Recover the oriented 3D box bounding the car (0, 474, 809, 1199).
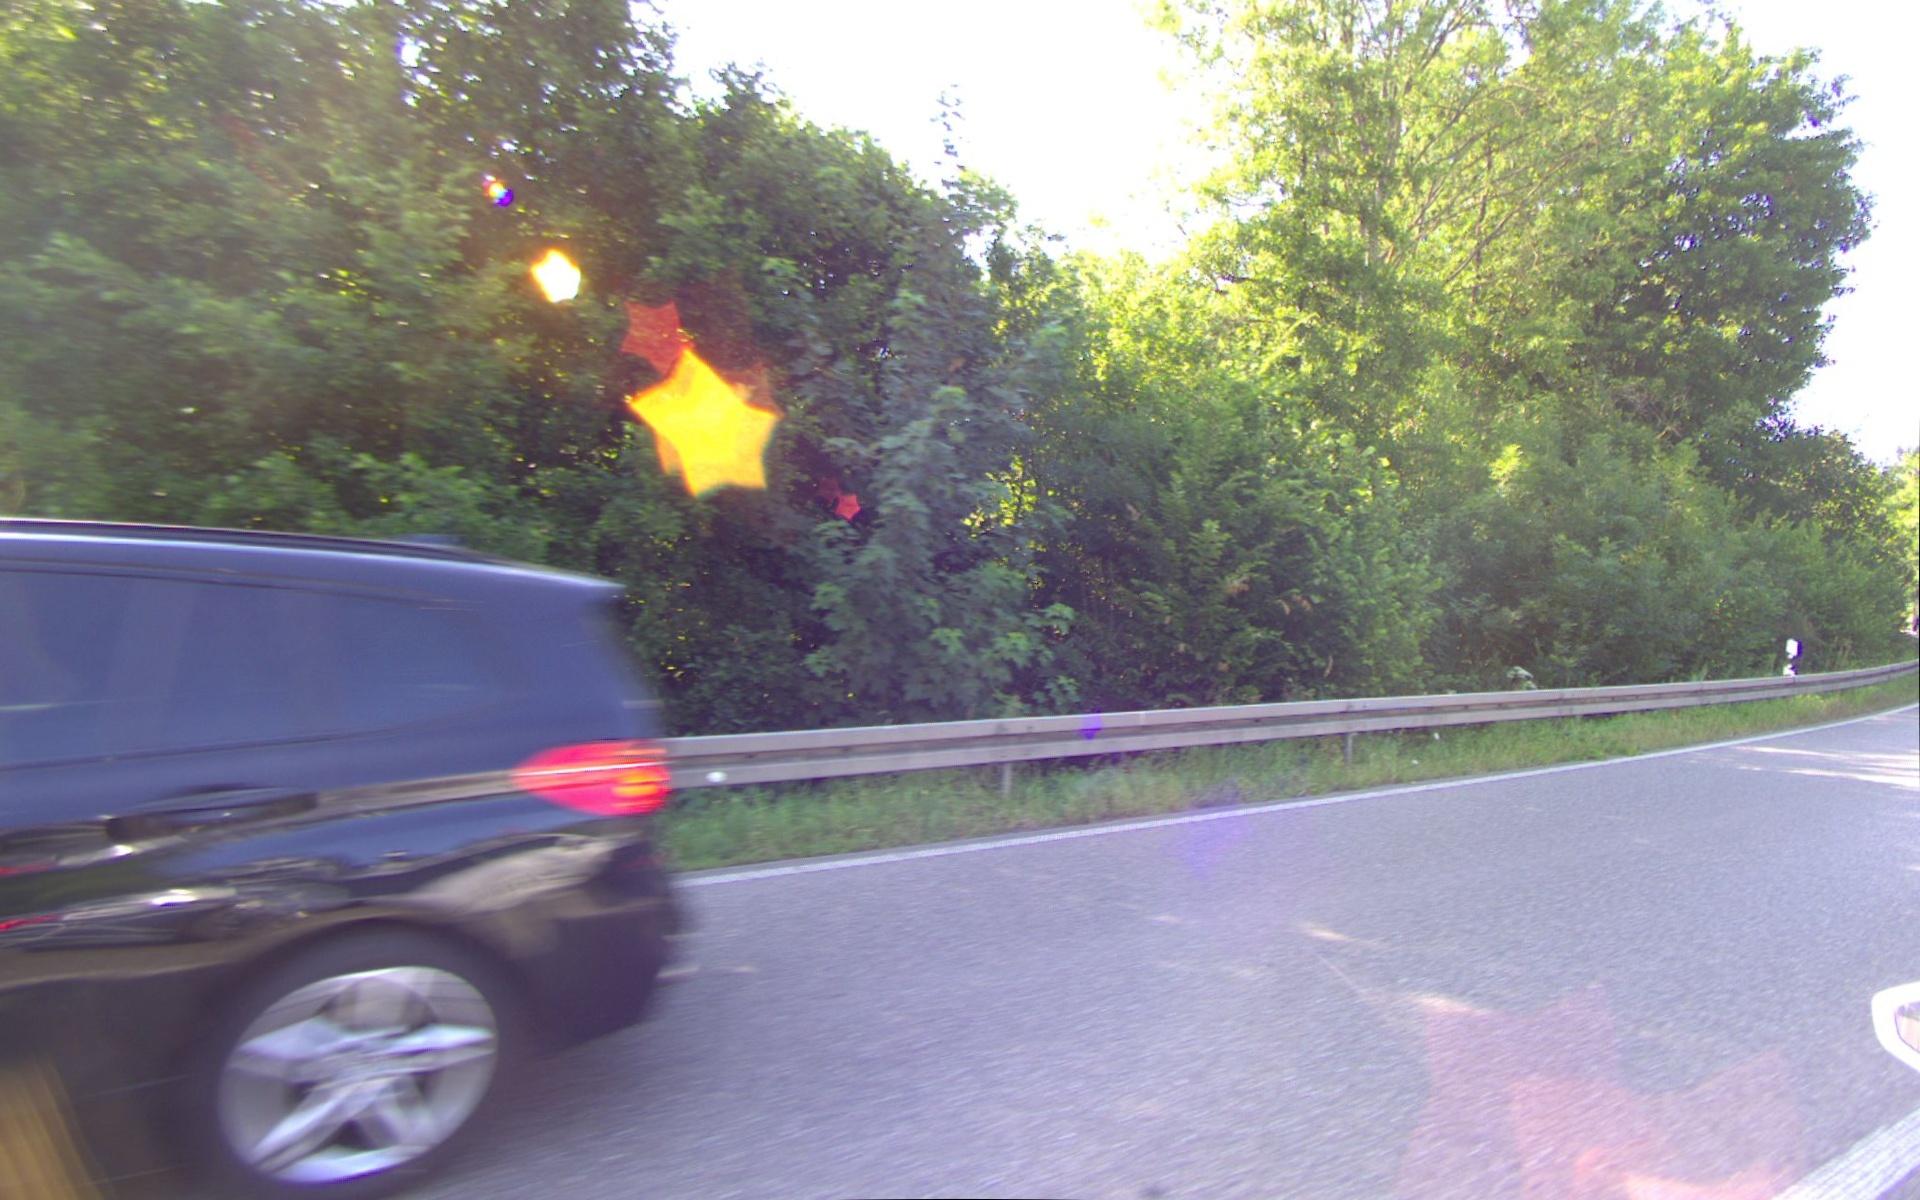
[{"bbox_3d":[-2.701,0.548,2.522,4.202,1.610,1.857,2,0,-33],"label":"car"}]

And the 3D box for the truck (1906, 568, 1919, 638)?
[{"bbox_3d":[57.744,0.274,57.782,3.401,4.141,6.474,4,2,32],"label":"truck"}]
